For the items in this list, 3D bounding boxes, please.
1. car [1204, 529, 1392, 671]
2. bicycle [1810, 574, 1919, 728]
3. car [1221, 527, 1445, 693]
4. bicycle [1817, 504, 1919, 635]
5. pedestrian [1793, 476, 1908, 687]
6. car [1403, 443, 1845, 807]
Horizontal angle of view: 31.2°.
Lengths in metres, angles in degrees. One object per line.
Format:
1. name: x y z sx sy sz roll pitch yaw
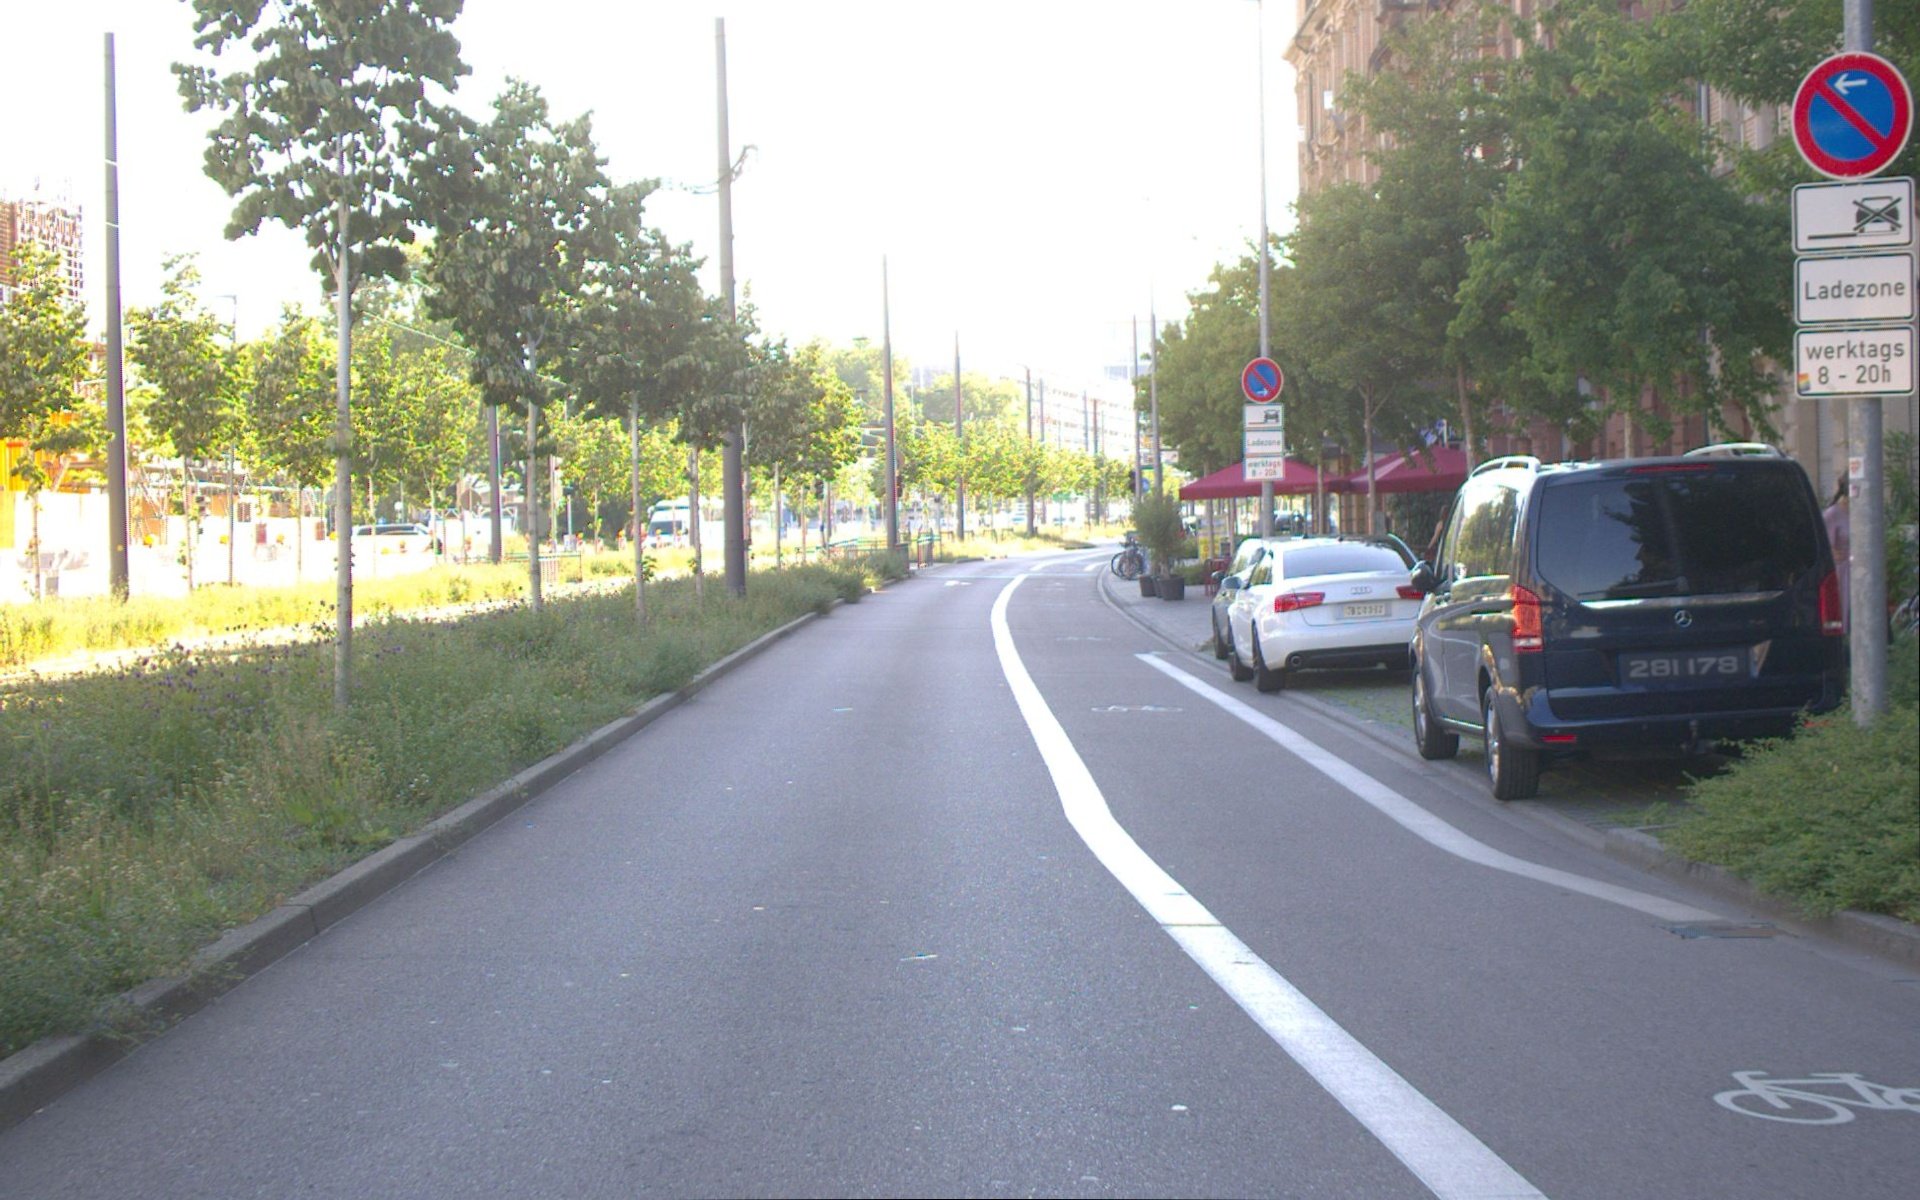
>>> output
1. car: 3.851 -0.042 39.715 1.849 1.452 4.156 -1 2 2
2. bicycle: 7.443 0.363 26.466 1.081 1.081 2.770 0 1 -1
3. car: 3.623 0.052 34.003 1.849 1.452 4.156 -1 2 2
4. bicycle: 10.236 -0.366 38.460 0.661 1.397 2.352 -1 2 -1
5. pedestrian: 6.260 -0.137 24.183 0.625 1.455 0.638 -1 1 0
6. car: 3.831 0.056 20.588 1.885 1.930 4.473 0 2 2
